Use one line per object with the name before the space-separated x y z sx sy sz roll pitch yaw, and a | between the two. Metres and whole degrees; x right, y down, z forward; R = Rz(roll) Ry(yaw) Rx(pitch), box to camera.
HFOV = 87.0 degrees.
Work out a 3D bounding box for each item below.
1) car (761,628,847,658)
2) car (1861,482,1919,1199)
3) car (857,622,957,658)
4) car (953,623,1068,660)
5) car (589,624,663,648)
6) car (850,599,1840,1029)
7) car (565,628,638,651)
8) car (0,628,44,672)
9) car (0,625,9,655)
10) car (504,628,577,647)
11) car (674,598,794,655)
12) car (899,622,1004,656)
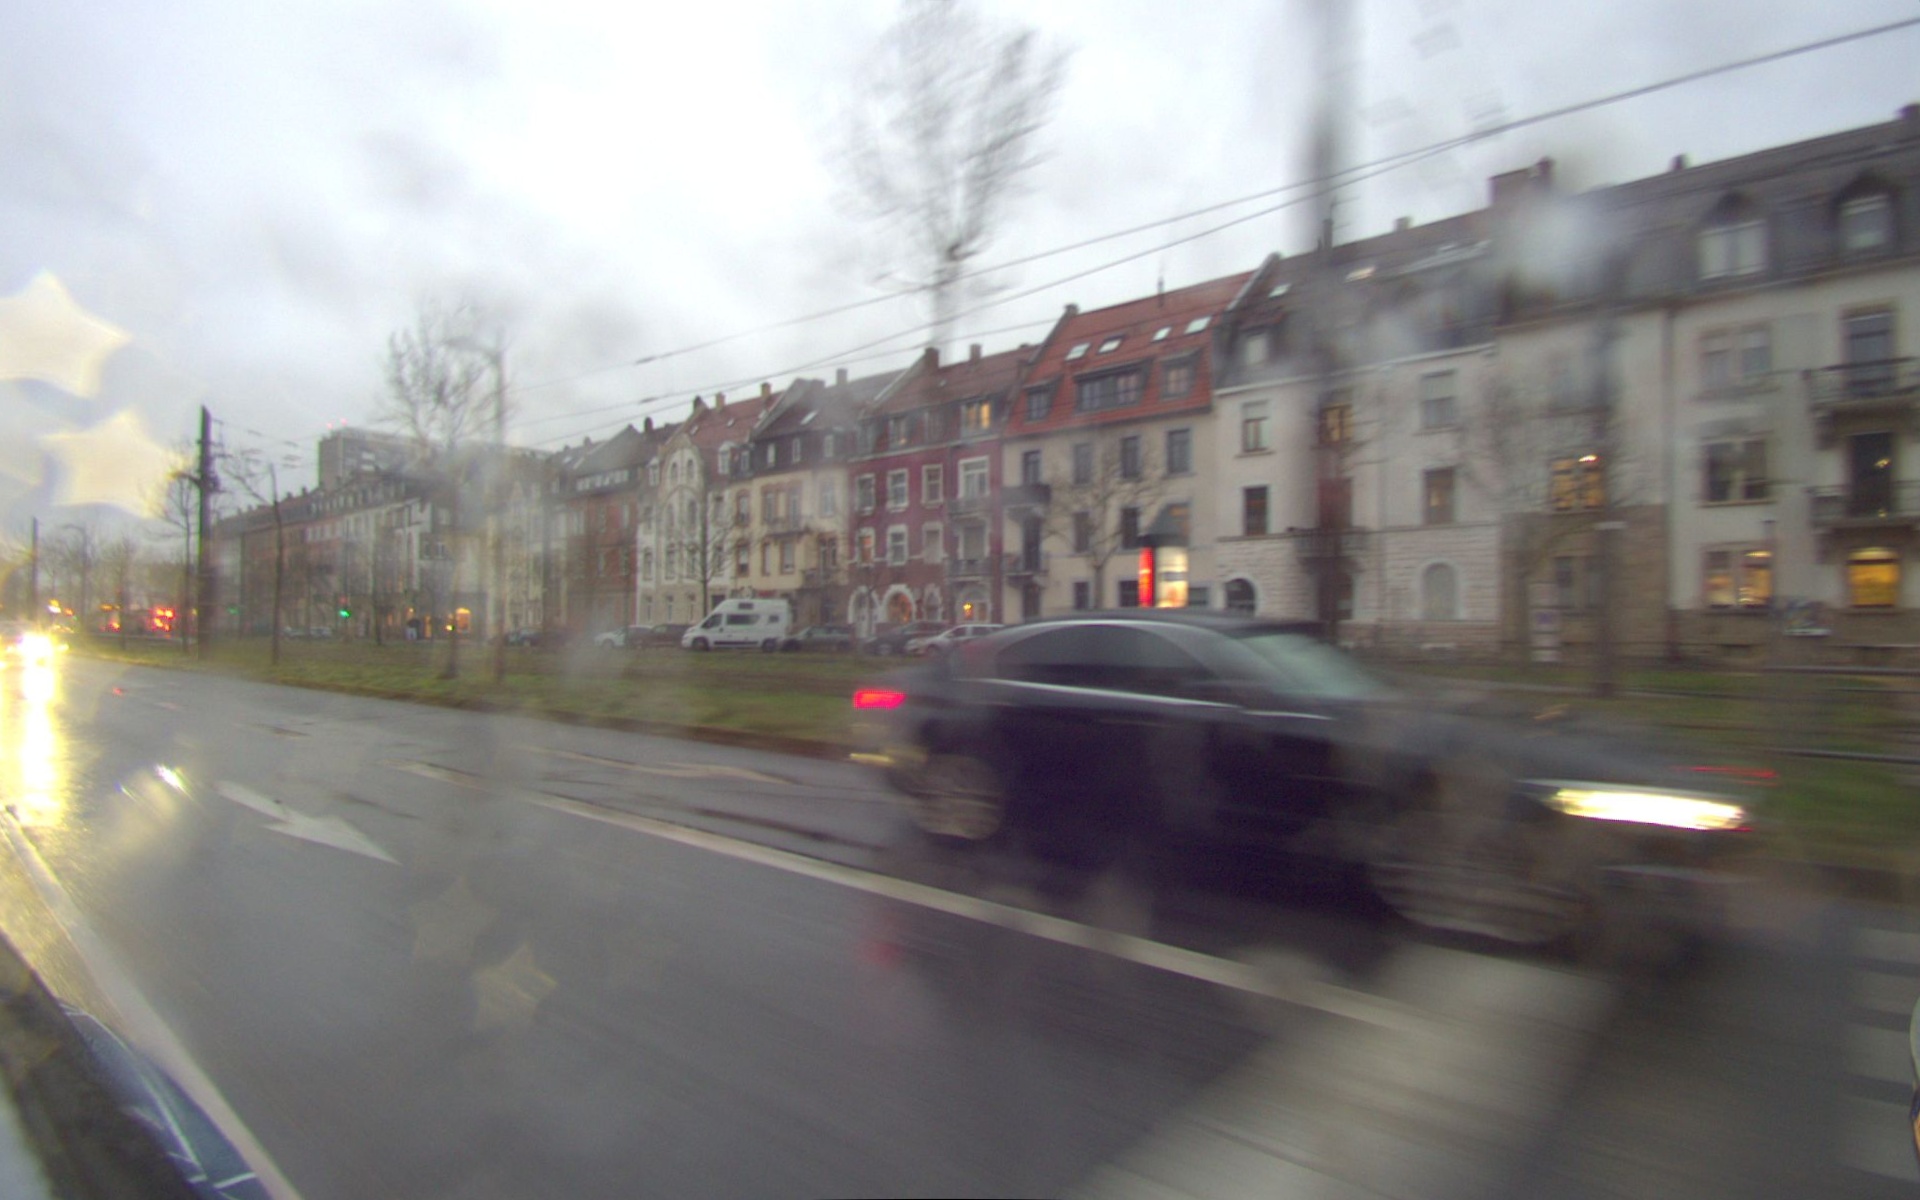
car | -7.353 2.007 47.679 3.935 1.342 2.004 0 -2 -10
car | 3.383 0.557 0.631 4.047 1.612 1.792 -1 0 38
car | -2.284 1.679 43.176 3.933 1.497 2.005 0 -2 -13
car | 1.834 1.521 37.862 3.935 1.342 2.004 0 -2 -10
car | -19.343 2.092 58.796 3.933 1.342 2.005 0 -2 -13
car | 1.699 0.762 5.682 4.822 1.441 1.791 -1 0 40
car | -21.650 2.388 61.272 3.934 1.342 2.005 0 -2 -12
car | -34.824 1.788 36.877 4.053 1.508 1.789 -1 0 43
car | -58.240 2.408 60.260 3.999 1.769 1.972 -2 -3 42
car | -26.452 2.334 63.962 3.936 1.178 2.004 0 -2 -9
car | -11.459 1.346 51.608 5.777 2.819 2.002 0 -2 -6
car | -0.380 1.552 40.668 3.935 1.342 2.004 0 -2 -10
